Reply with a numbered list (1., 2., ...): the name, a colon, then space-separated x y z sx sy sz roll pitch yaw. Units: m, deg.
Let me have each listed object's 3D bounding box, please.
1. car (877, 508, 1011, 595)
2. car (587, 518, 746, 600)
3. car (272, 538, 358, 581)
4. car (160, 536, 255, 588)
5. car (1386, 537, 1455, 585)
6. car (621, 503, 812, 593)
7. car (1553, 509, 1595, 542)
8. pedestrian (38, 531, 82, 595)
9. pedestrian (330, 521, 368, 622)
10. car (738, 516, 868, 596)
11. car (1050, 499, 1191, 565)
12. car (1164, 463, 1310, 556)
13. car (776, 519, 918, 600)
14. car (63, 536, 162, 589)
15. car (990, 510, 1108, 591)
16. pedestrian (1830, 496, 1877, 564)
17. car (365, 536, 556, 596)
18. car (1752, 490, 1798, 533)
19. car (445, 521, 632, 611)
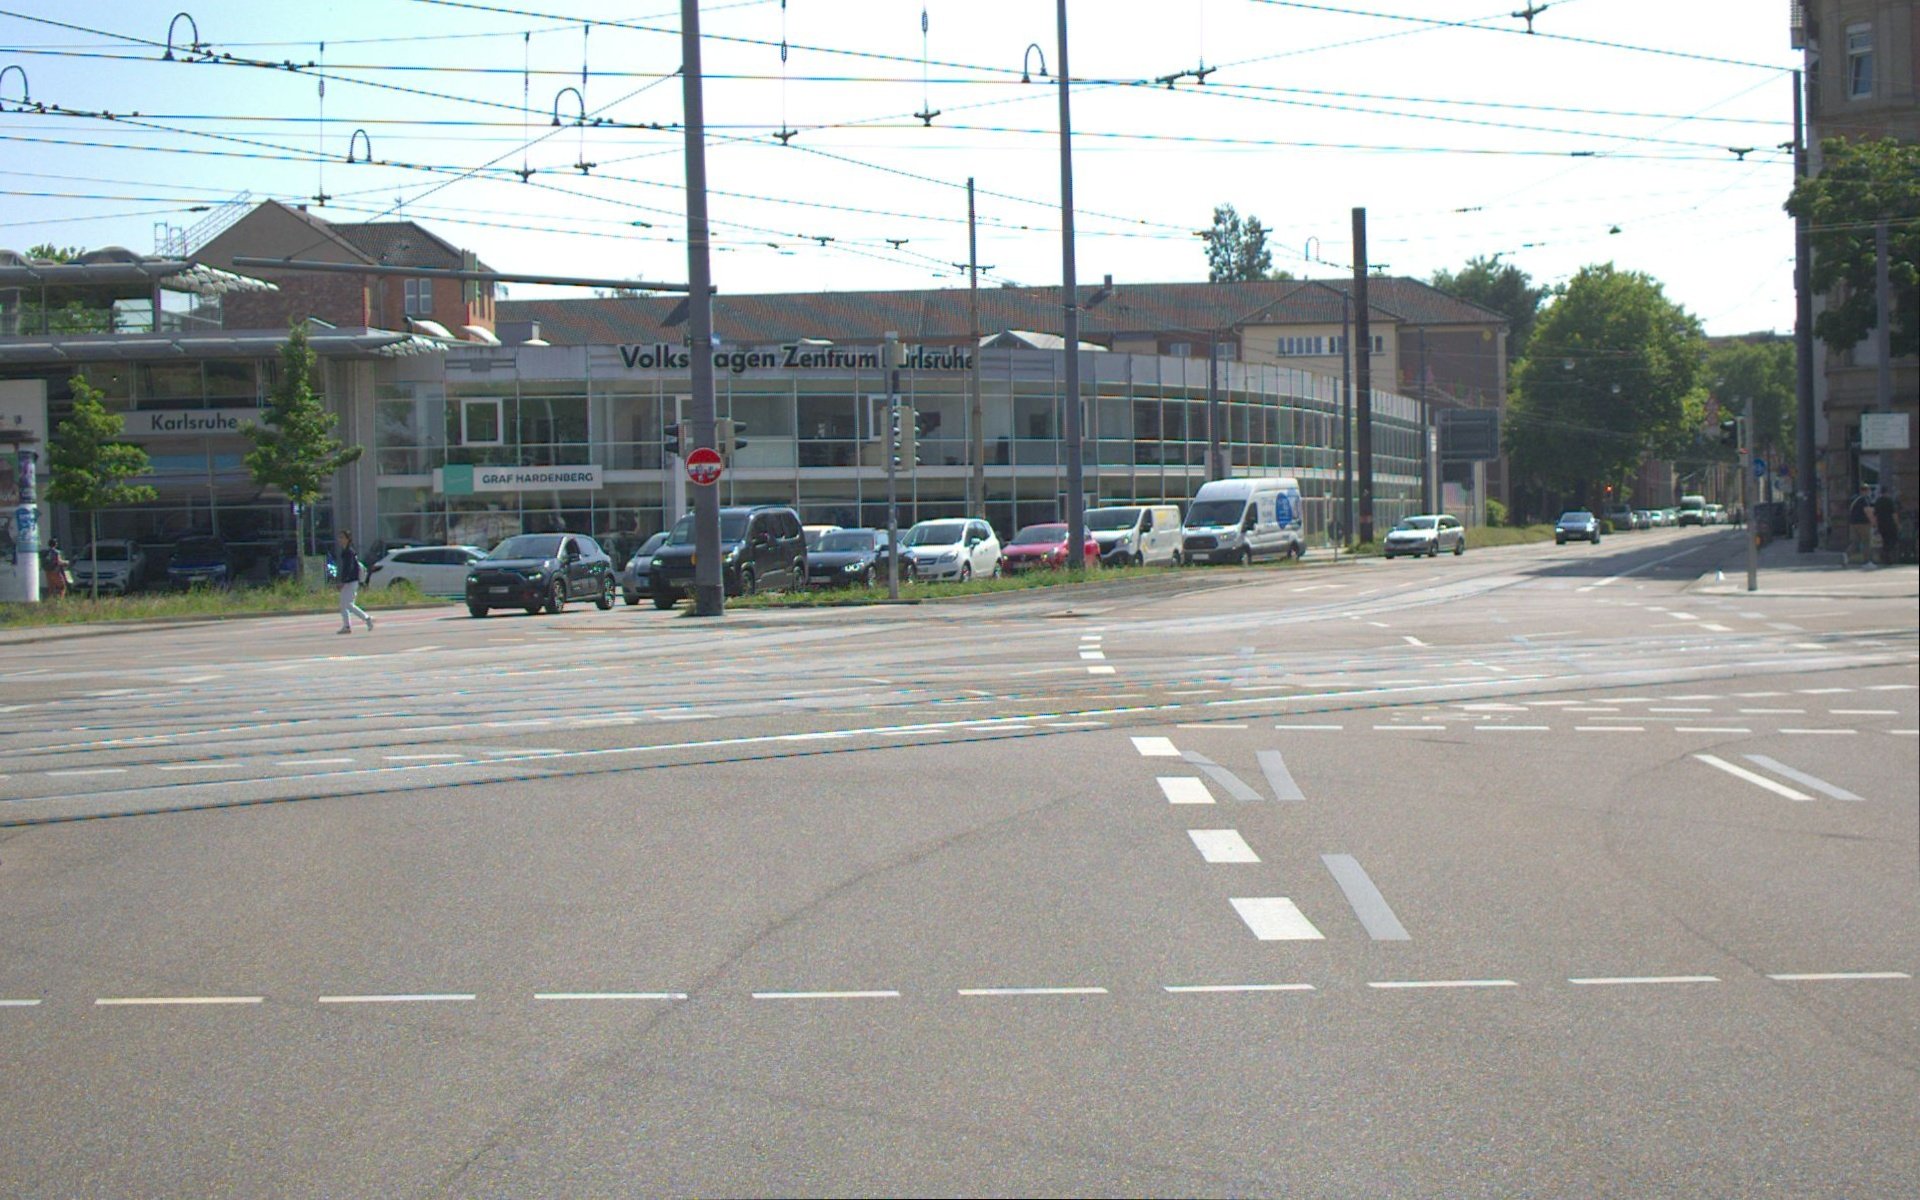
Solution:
1. car: -0.333 -1.087 78.435 1.896 1.910 4.197 -1 0 17
2. car: -5.978 -0.826 70.456 1.896 1.582 3.997 -1 0 17
3. car: -18.738 -1.184 99.973 1.830 1.191 4.000 1 1 -2
4. car: -21.931 -1.113 100.363 1.993 1.481 4.000 1 1 -2
5. car: 15.985 -1.350 119.222 1.386 1.619 3.335 1 1 26
6. car: -4.480 -0.990 64.024 1.962 1.582 4.713 -1 1 17
7. car: 27.406 -3.307 153.505 1.385 1.409 3.010 1 1 19
8. pedestrian: -22.459 -0.929 85.789 0.953 1.574 0.534 1 0 -3
9. pedestrian: -9.697 -0.449 54.537 0.453 1.599 0.400 1 0 -36
10. car: -3.531 -0.982 78.115 1.653 1.733 4.197 -1 0 17
11. car: 4.344 -1.834 92.294 2.188 1.675 5.024 -1 1 22
12. car: 8.063 -2.586 99.535 2.211 2.566 5.867 1 1 26
13. car: -2.308 -0.822 71.145 1.895 1.582 3.997 -1 0 14
14. car: -24.716 -1.098 100.391 1.993 1.481 4.000 1 1 -2
15. car: 2.238 -1.213 85.332 1.896 1.910 4.197 -1 0 17
16. pedestrian: 18.812 -1.475 72.416 0.612 1.428 0.712 0 0 -38
17. car: -12.695 -0.866 87.381 4.587 1.431 1.443 1 0 13
18. car: 39.191 -4.240 165.228 2.110 2.007 3.998 -1 1 14
19. car: -7.787 -0.617 63.939 1.893 1.582 4.207 -1 0 17
